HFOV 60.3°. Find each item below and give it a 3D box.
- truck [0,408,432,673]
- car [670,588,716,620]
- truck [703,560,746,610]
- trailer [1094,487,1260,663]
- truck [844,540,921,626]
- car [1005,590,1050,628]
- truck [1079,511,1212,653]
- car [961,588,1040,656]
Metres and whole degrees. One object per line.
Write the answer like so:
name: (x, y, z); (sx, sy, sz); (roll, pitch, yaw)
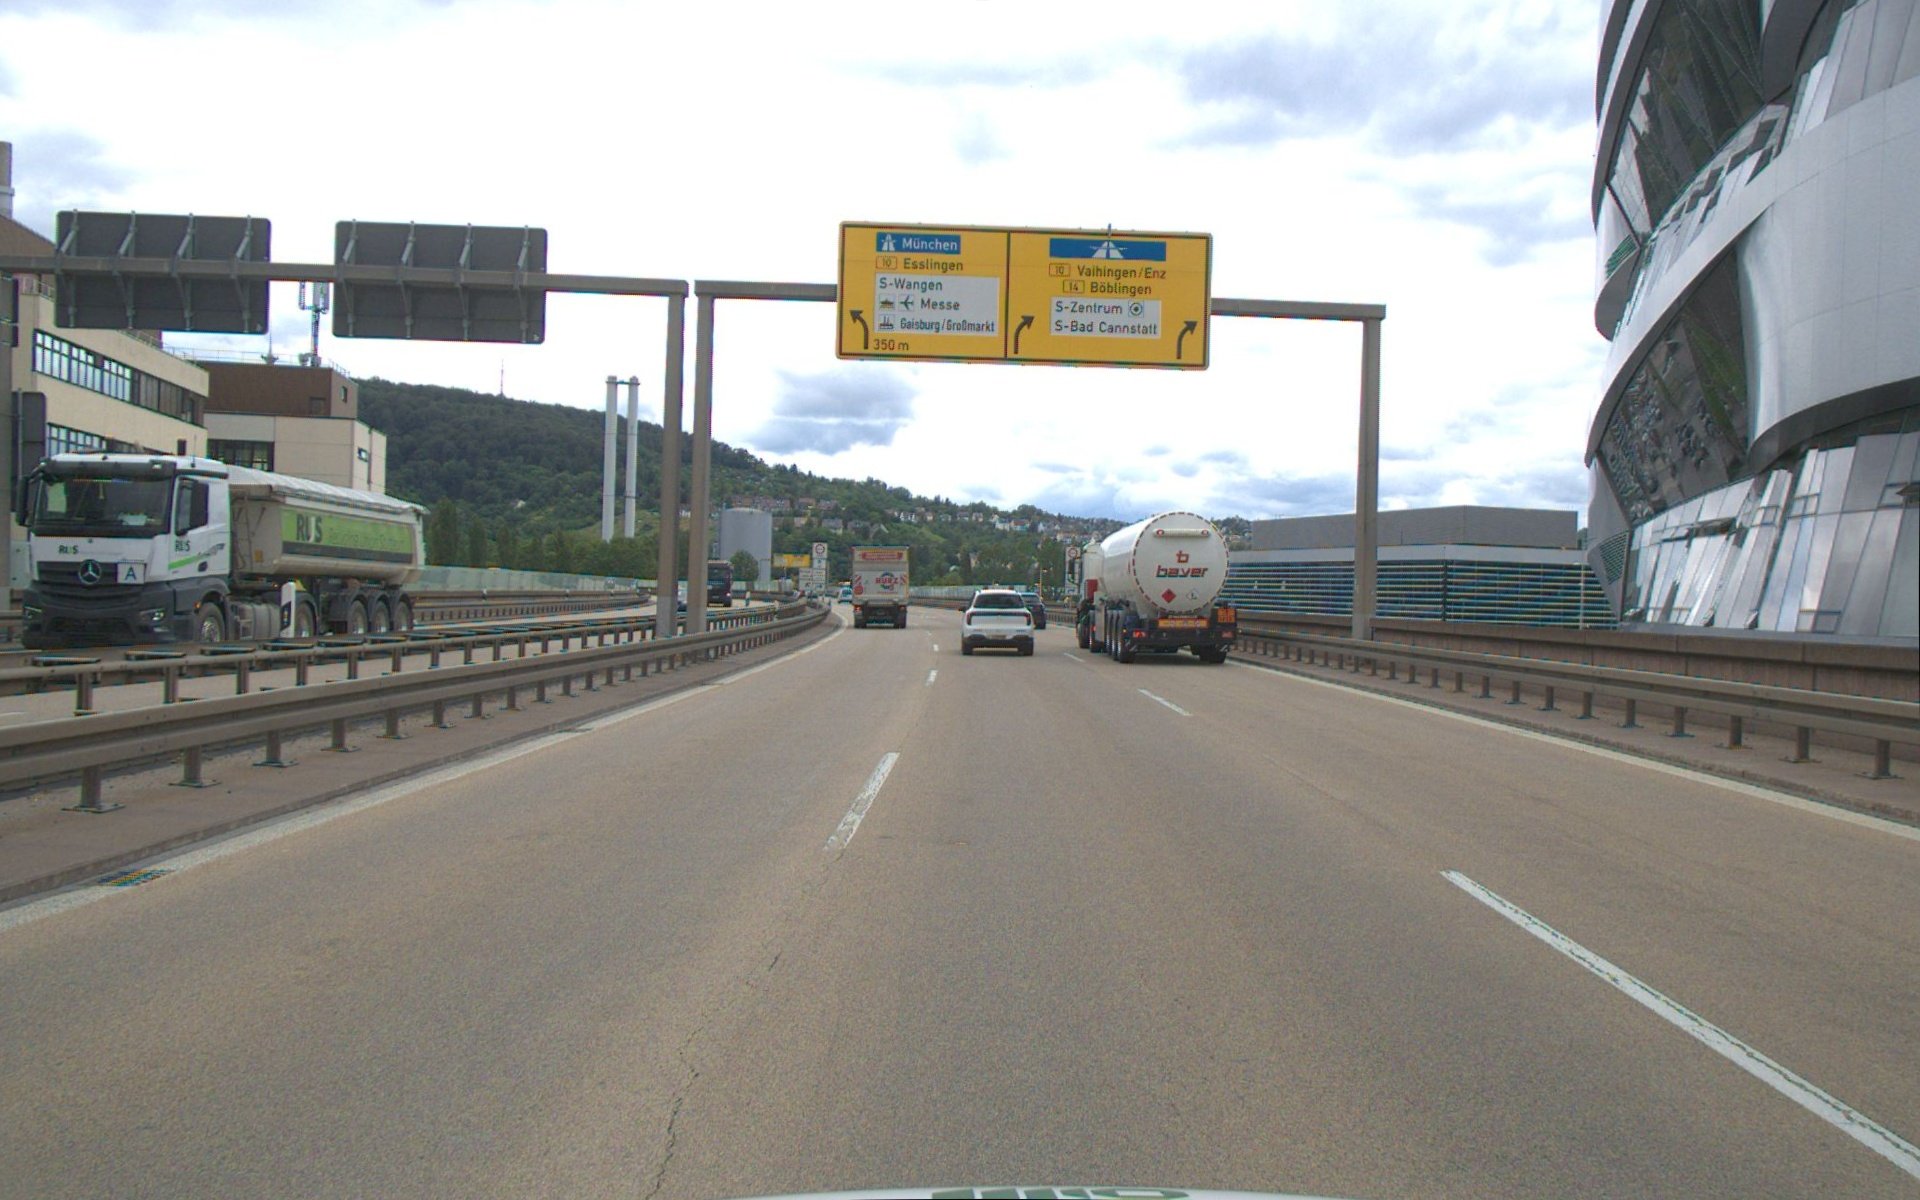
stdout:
truck: (-13.186, -0.829, 30.379); (2.994, 3.842, 12.516); (0, 0, 0)
car: (-14.674, 0.245, 91.168); (1.953, 1.704, 4.406); (0, -1, -2)
truck: (-19.144, -1.109, 135.062); (2.756, 3.876, 12.007); (0, 0, -5)
trailer: (5.115, -0.514, 40.523); (2.994, 3.856, 8.303); (0, 0, 0)
truck: (-3.485, -0.715, 76.401); (2.994, 3.755, 8.304); (0, 0, 1)
car: (3.088, 0.431, 76.398); (1.952, 1.704, 4.408); (0, -1, 0)
truck: (5.096, -0.440, 46.569); (2.953, 3.721, 6.272); (0, -1, -1)
car: (1.021, 0.568, 43.837); (1.953, 1.704, 4.407); (0, -1, 0)
